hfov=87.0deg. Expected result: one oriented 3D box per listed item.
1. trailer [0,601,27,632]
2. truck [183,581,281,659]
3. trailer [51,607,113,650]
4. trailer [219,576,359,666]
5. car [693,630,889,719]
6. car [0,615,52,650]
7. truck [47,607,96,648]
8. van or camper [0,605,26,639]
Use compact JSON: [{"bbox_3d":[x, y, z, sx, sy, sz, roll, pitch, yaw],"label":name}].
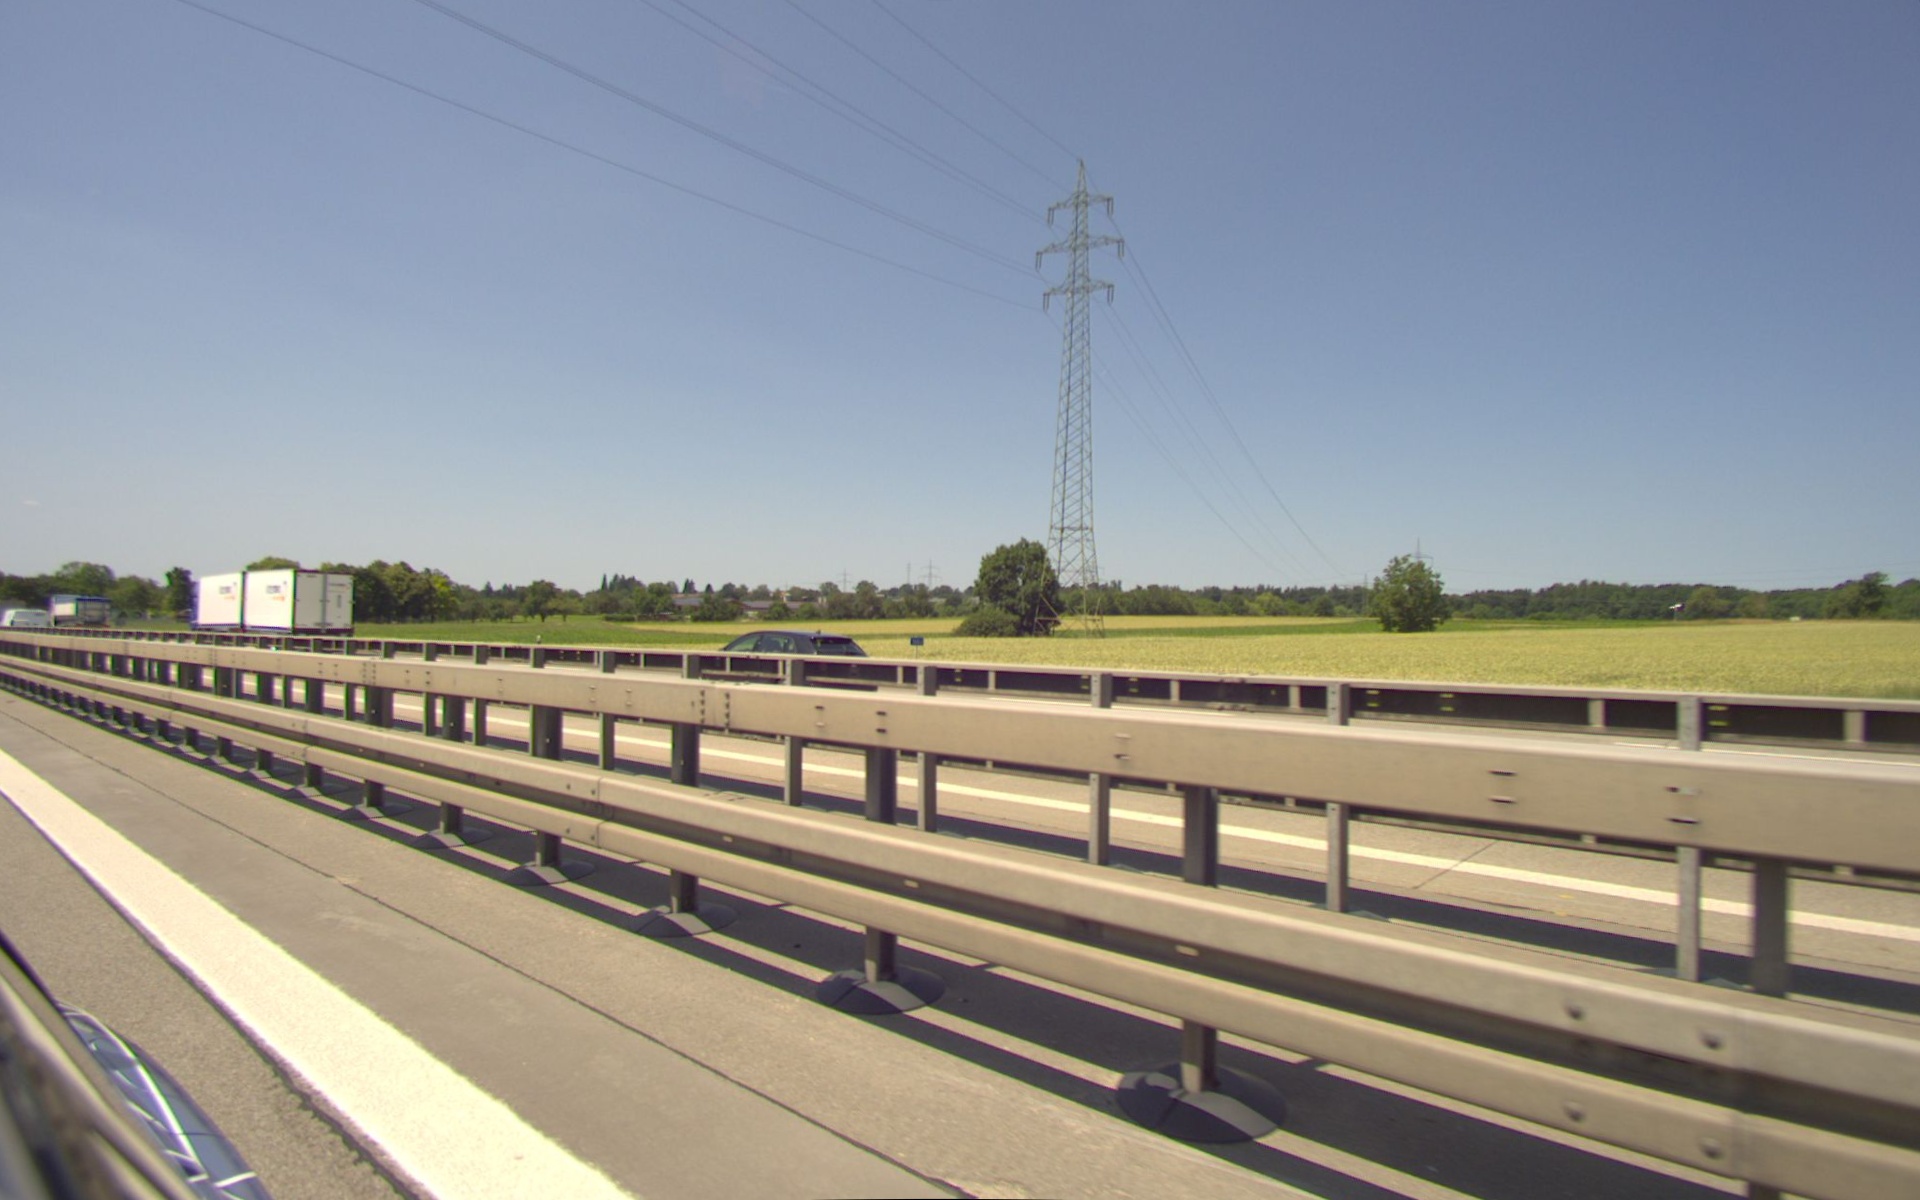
[{"bbox_3d":[-125.243,2.158,132.645,12.888,3.947,2.927,-1,0,41],"label":"trailer"},{"bbox_3d":[-41.071,1.056,57.005,7.527,4.120,2.792,-1,0,41],"label":"truck"},{"bbox_3d":[-80.425,2.505,92.637,11.353,3.720,2.679,-1,0,41],"label":"trailer"},{"bbox_3d":[-33.819,0.980,50.732,11.659,4.077,2.803,-1,0,41],"label":"trailer"},{"bbox_3d":[-3.080,1.284,18.136,3.606,1.436,1.467,-2,-4,40],"label":"car"},{"bbox_3d":[-56.089,1.963,60.589,4.646,2.025,1.963,-1,-3,41],"label":"car"},{"bbox_3d":[-84.284,2.521,95.951,6.053,3.718,2.690,-1,0,41],"label":"truck"},{"bbox_3d":[-92.845,2.177,98.226,7.398,3.189,2.316,-1,-3,41],"label":"van or camper"}]
